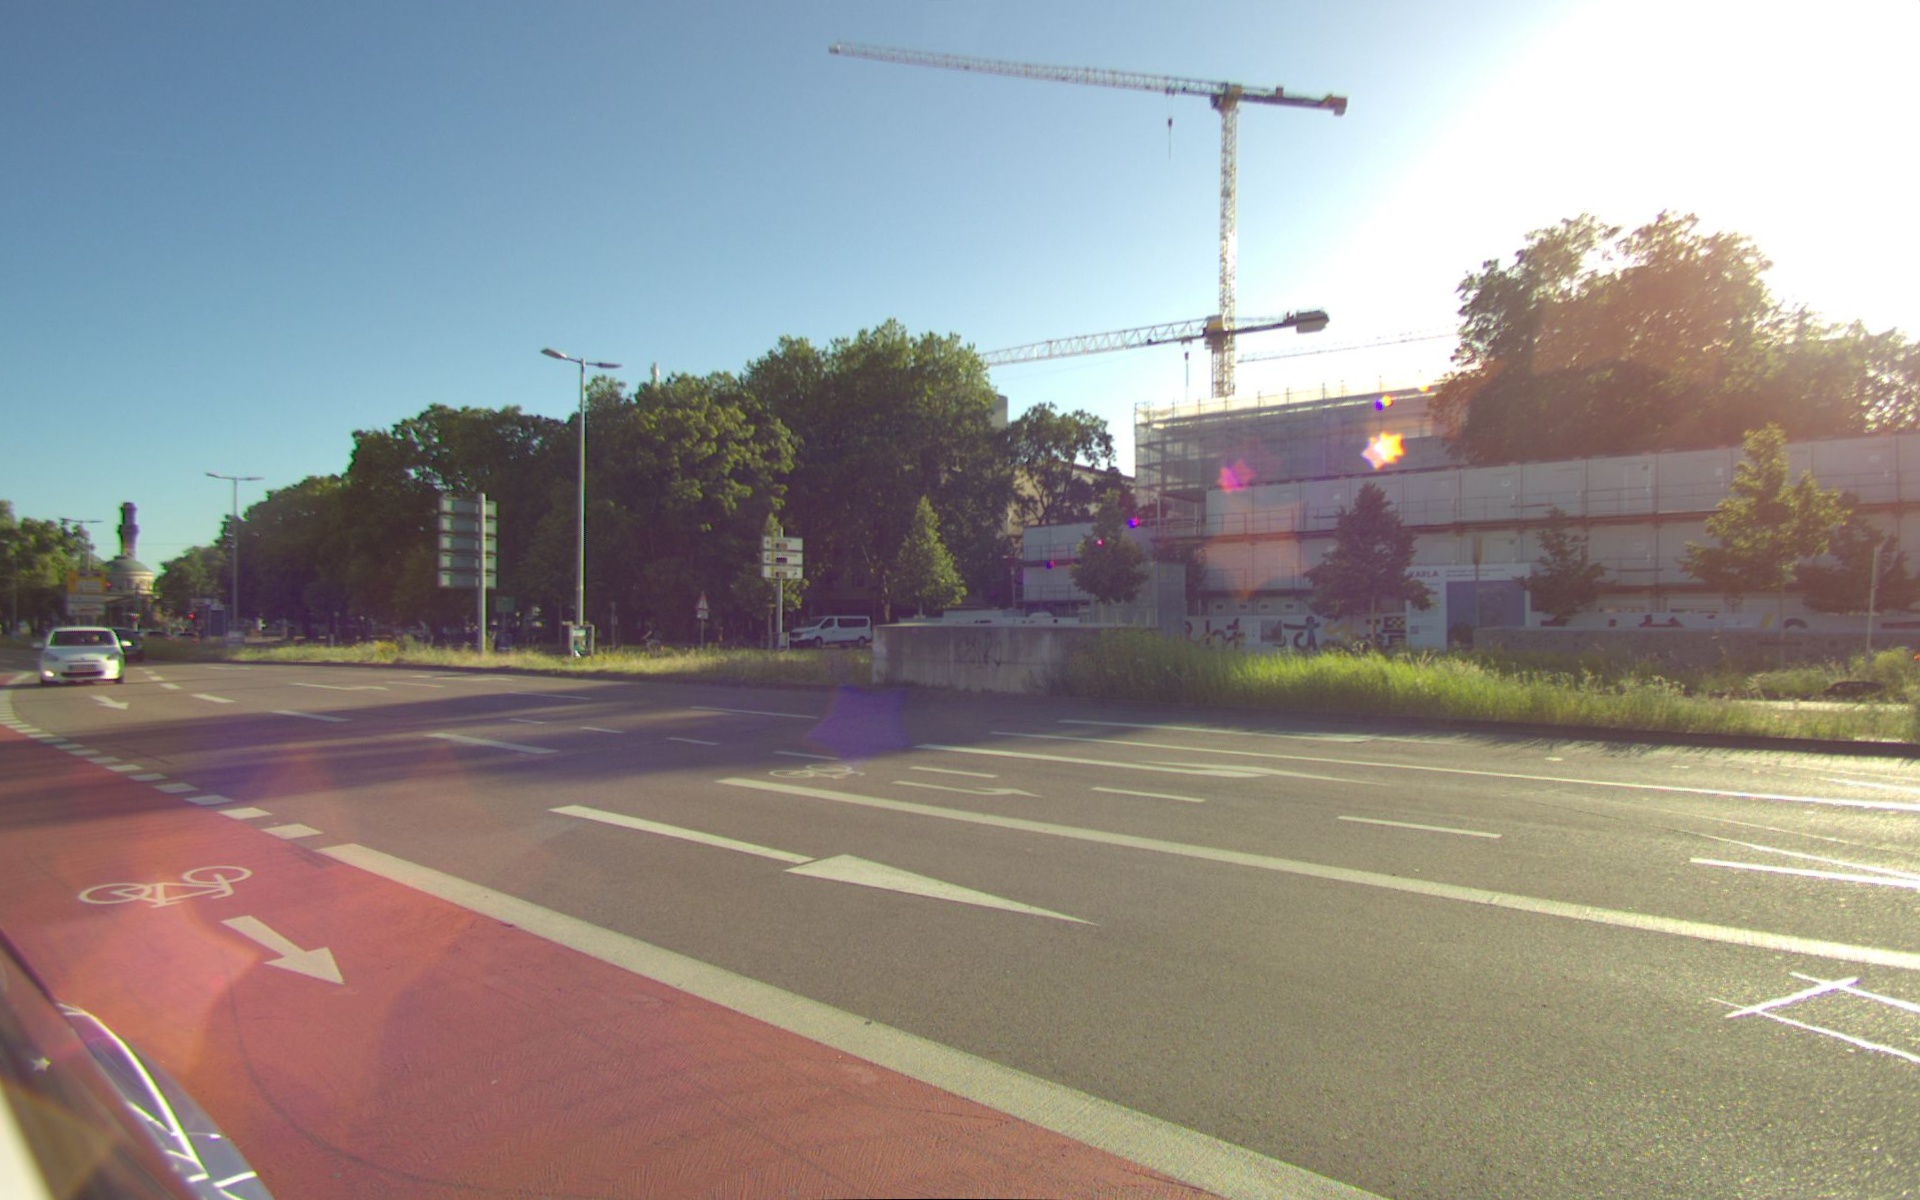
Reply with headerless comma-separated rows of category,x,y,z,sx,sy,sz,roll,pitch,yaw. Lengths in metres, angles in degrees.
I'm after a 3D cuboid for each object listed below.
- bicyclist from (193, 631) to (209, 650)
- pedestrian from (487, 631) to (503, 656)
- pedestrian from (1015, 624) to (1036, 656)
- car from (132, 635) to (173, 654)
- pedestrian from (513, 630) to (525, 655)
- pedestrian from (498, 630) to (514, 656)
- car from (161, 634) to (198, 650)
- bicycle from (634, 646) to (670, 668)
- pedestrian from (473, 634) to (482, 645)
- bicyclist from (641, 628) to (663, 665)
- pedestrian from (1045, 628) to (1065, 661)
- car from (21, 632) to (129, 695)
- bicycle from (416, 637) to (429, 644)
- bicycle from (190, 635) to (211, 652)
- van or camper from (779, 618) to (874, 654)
bicyclist,-64.243,3.417,85.657,1.200,1.602,0.740,1,-2,37
pedestrian,-31.465,2.958,68.466,0.726,1.653,0.734,-2,-3,44
pedestrian,3.253,1.974,50.211,0.834,1.570,0.574,-2,-3,38
car,-67.946,3.707,85.147,4.057,1.576,1.973,-2,-2,40
pedestrian,-30.220,2.900,69.304,0.655,1.754,0.518,-2,-3,44
pedestrian,-31.009,2.907,69.169,0.761,1.754,0.763,-2,-3,44
car,-74.963,4.022,97.197,4.585,1.538,1.913,-2,-2,41
bicycle,-12.643,2.317,41.532,0.605,0.868,1.952,1,-3,-44
pedestrian,-55.090,4.513,115.555,0.599,1.350,0.723,-2,-3,43
bicyclist,-12.634,1.914,41.512,0.600,1.500,0.681,1,-3,-45
pedestrian,4.936,2.308,52.483,0.834,1.701,0.574,-2,-3,38
car,-22.938,1.593,26.186,3.763,1.475,1.657,-2,-1,41
bicycle,-68.928,5.202,129.684,1.600,0.896,0.762,-1,-2,32
bicycle,-64.316,3.680,85.698,2.254,1.285,0.751,1,-2,36
van or camper,-7.997,2.205,61.110,2.257,2.029,5.603,0,-2,41
